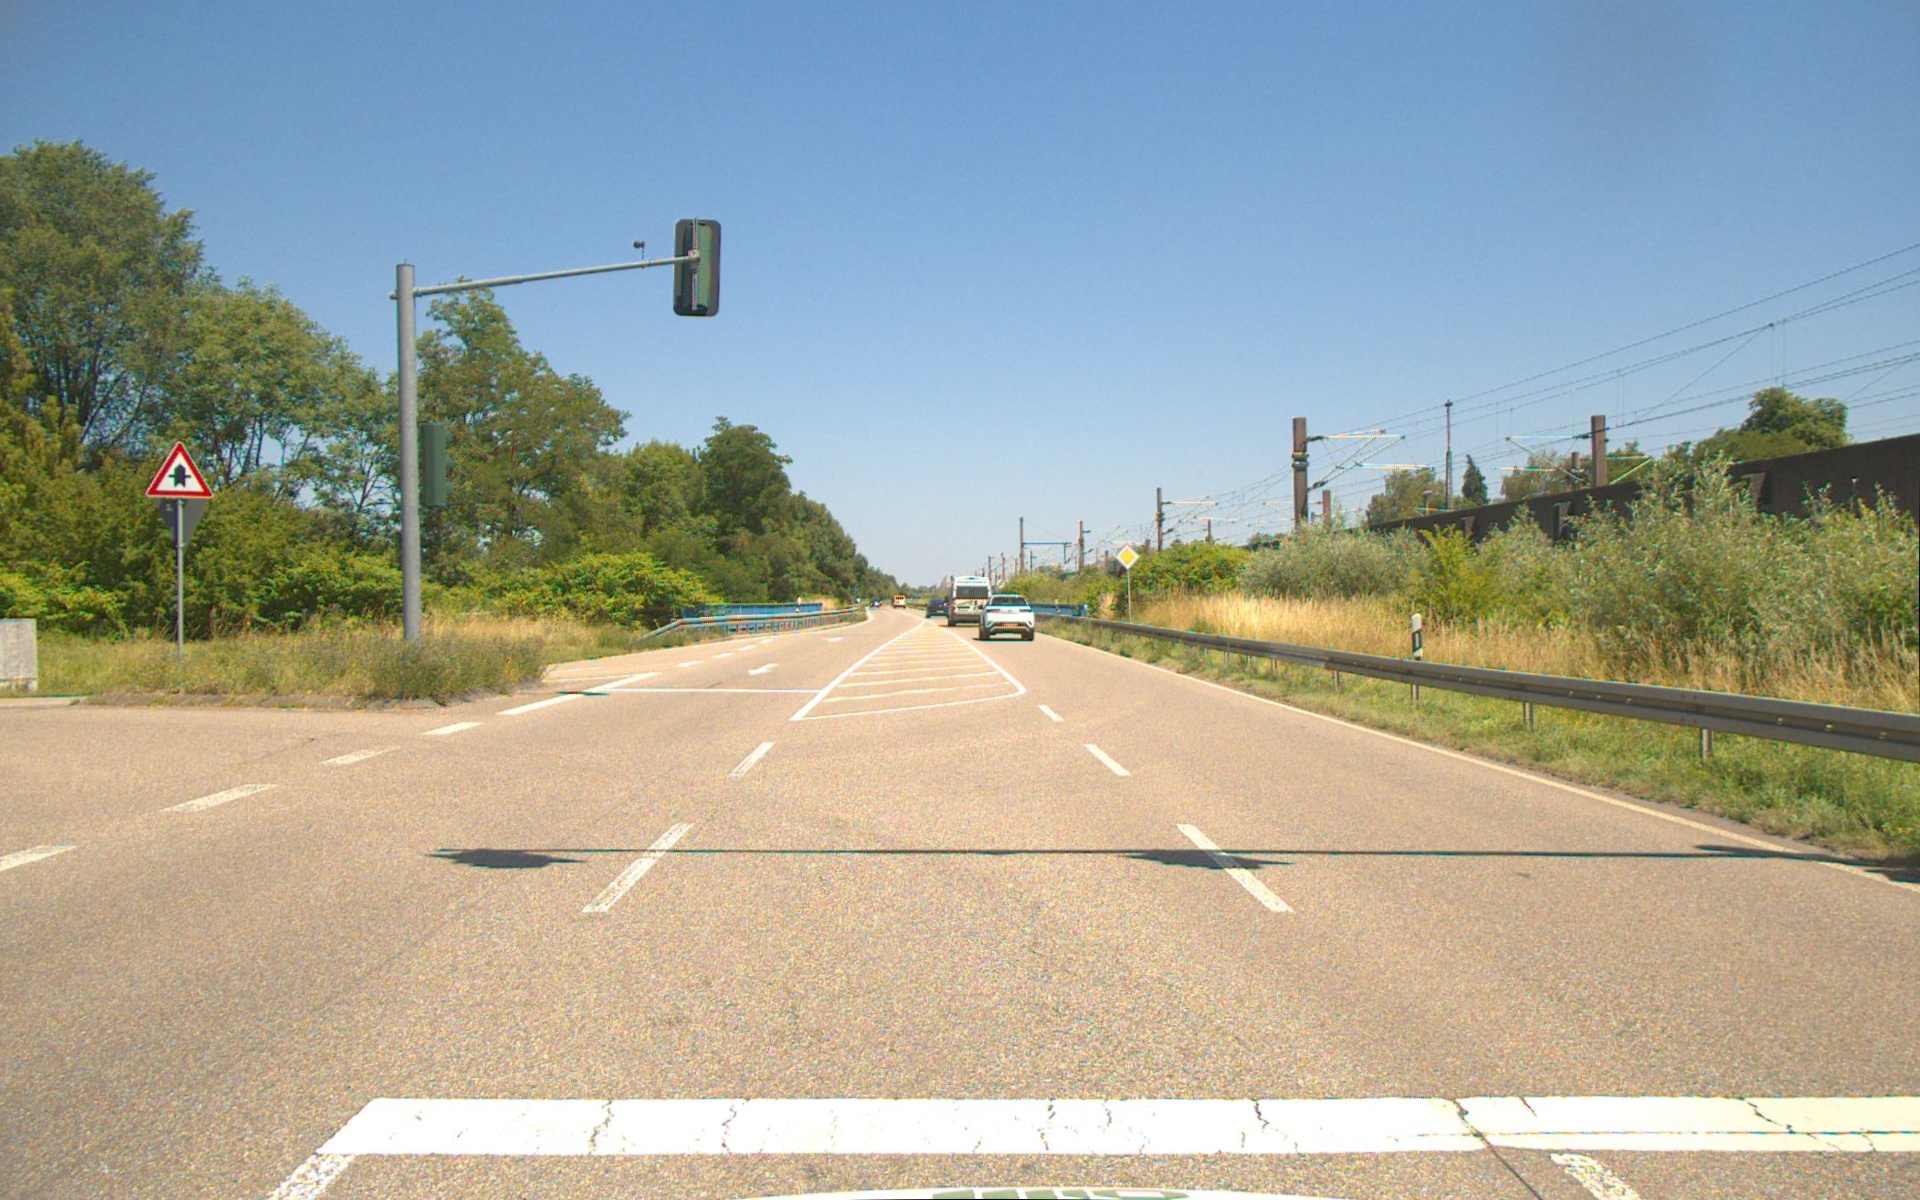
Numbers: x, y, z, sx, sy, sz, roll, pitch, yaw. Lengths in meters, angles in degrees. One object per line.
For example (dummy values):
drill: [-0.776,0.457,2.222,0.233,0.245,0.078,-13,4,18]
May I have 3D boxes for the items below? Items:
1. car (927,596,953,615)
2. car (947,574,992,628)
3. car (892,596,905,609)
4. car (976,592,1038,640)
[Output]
car: [-1.509,0.400,123.125,1.819,1.404,4.501,1,0,-2]
car: [0.447,0.034,86.936,2.144,2.649,6.749,1,0,-1]
car: [-9.503,0.413,256.036,1.954,2.018,4.058,1,0,-3]
car: [1.612,0.530,57.686,1.782,1.591,4.275,0,0,-3]
